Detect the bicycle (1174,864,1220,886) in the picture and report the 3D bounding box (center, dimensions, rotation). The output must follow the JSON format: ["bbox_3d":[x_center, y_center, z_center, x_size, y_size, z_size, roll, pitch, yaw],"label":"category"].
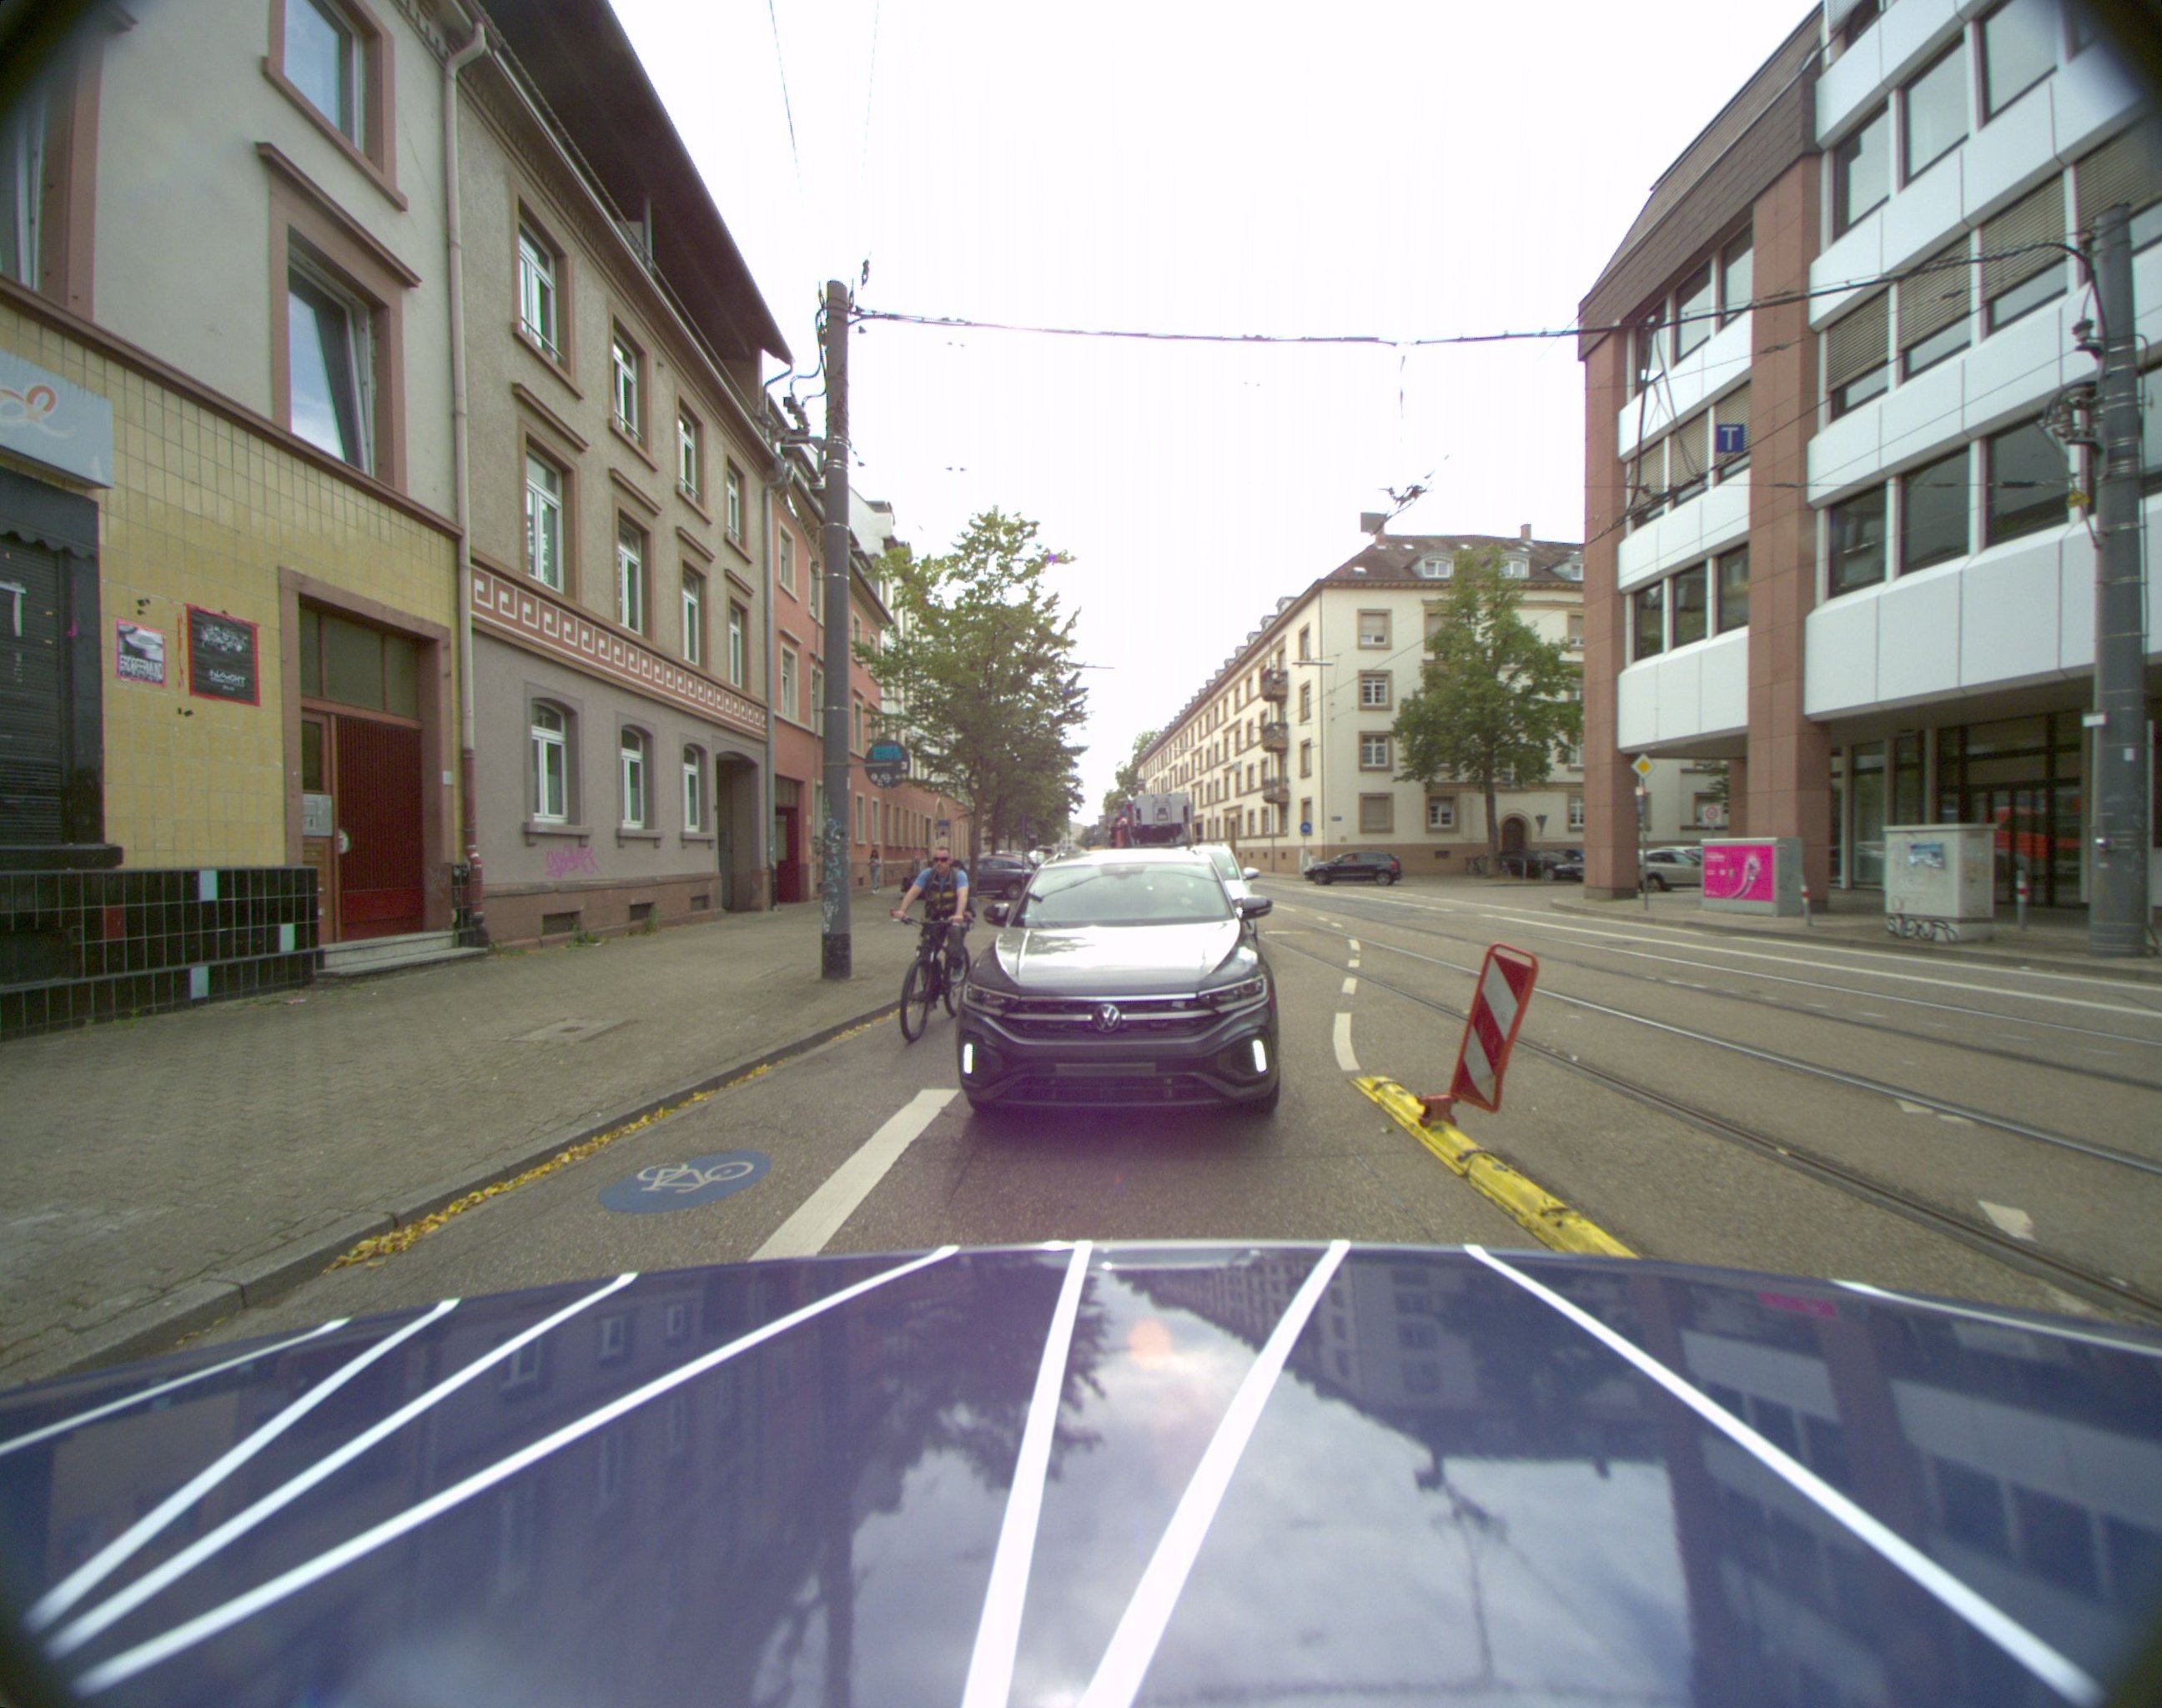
[{"bbox_3d":[5.127,0.936,33.602,2.009,0.959,0.673,-1,0,8],"label":"bicycle"}]

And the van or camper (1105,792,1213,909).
[{"bbox_3d":[2.461,-0.108,27.217,2.607,3.401,9.651,-1,0,-1],"label":"van or camper"}]

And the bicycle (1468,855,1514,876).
[{"bbox_3d":[20.915,0.579,38.812,1.924,1.080,0.793,-1,0,-1],"label":"bicycle"}]

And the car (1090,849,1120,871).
[{"bbox_3d":[1.662,0.400,54.585,1.911,1.478,3.999,-1,0,-2],"label":"car"}]

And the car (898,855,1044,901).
[{"bbox_3d":[-3.767,0.810,26.029,4.635,1.464,1.786,1,0,-24],"label":"car"}]

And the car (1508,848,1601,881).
[{"bbox_3d":[21.177,0.445,34.154,1.611,1.388,3.874,-1,0,-3],"label":"car"}]

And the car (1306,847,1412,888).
[{"bbox_3d":[11.632,0.564,31.803,4.039,1.528,1.777,-2,0,23],"label":"car"}]

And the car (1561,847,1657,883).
[{"bbox_3d":[23.579,0.458,34.119,1.611,1.538,3.715,-1,0,-3],"label":"car"}]

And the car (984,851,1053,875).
[{"bbox_3d":[-4.599,0.681,55.768,4.635,1.688,1.913,1,0,-24],"label":"car"}]

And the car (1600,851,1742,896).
[{"bbox_3d":[19.201,0.606,24.780,3.650,1.380,1.611,-1,0,-9],"label":"car"}]

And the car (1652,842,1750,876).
[{"bbox_3d":[28.505,0.227,35.064,1.592,1.454,3.524,-1,0,-3],"label":"car"}]

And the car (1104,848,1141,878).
[{"bbox_3d":[2.374,0.498,44.808,1.998,1.698,4.053,-1,0,1],"label":"car"}]

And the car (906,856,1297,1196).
[{"bbox_3d":[0.251,0.828,5.695,1.773,1.538,4.283,-2,0,5],"label":"car"}]

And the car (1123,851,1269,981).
[{"bbox_3d":[1.606,0.780,11.721,1.773,1.582,4.283,-2,0,4],"label":"car"}]

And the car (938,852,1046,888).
[{"bbox_3d":[-3.880,0.701,33.103,4.351,1.471,1.786,1,0,-24],"label":"car"}]

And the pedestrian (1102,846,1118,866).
[{"bbox_3d":[2.602,0.167,68.956,1.016,1.831,1.003,0,1,40],"label":"pedestrian"}]

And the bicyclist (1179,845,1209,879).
[{"bbox_3d":[4.995,0.359,33.620,1.258,1.453,0.678,-1,0,9],"label":"bicyclist"}]

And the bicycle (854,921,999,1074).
[{"bbox_3d":[-1.305,1.202,6.819,0.714,1.012,1.801,-2,0,6],"label":"bicycle"}]

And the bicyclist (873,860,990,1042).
[{"bbox_3d":[-1.312,0.822,6.830,0.715,1.498,0.919,-3,0,6],"label":"bicyclist"}]

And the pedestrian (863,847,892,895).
[{"bbox_3d":[-7.325,0.599,27.383,0.732,1.678,0.926,3,0,-1],"label":"pedestrian"}]

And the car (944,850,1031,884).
[{"bbox_3d":[-4.924,0.685,40.238,4.245,1.688,1.736,1,0,-24],"label":"car"}]

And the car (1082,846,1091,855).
[{"bbox_3d":[1.166,-0.799,161.374,1.899,1.806,4.000,-1,0,0],"label":"car"}]
